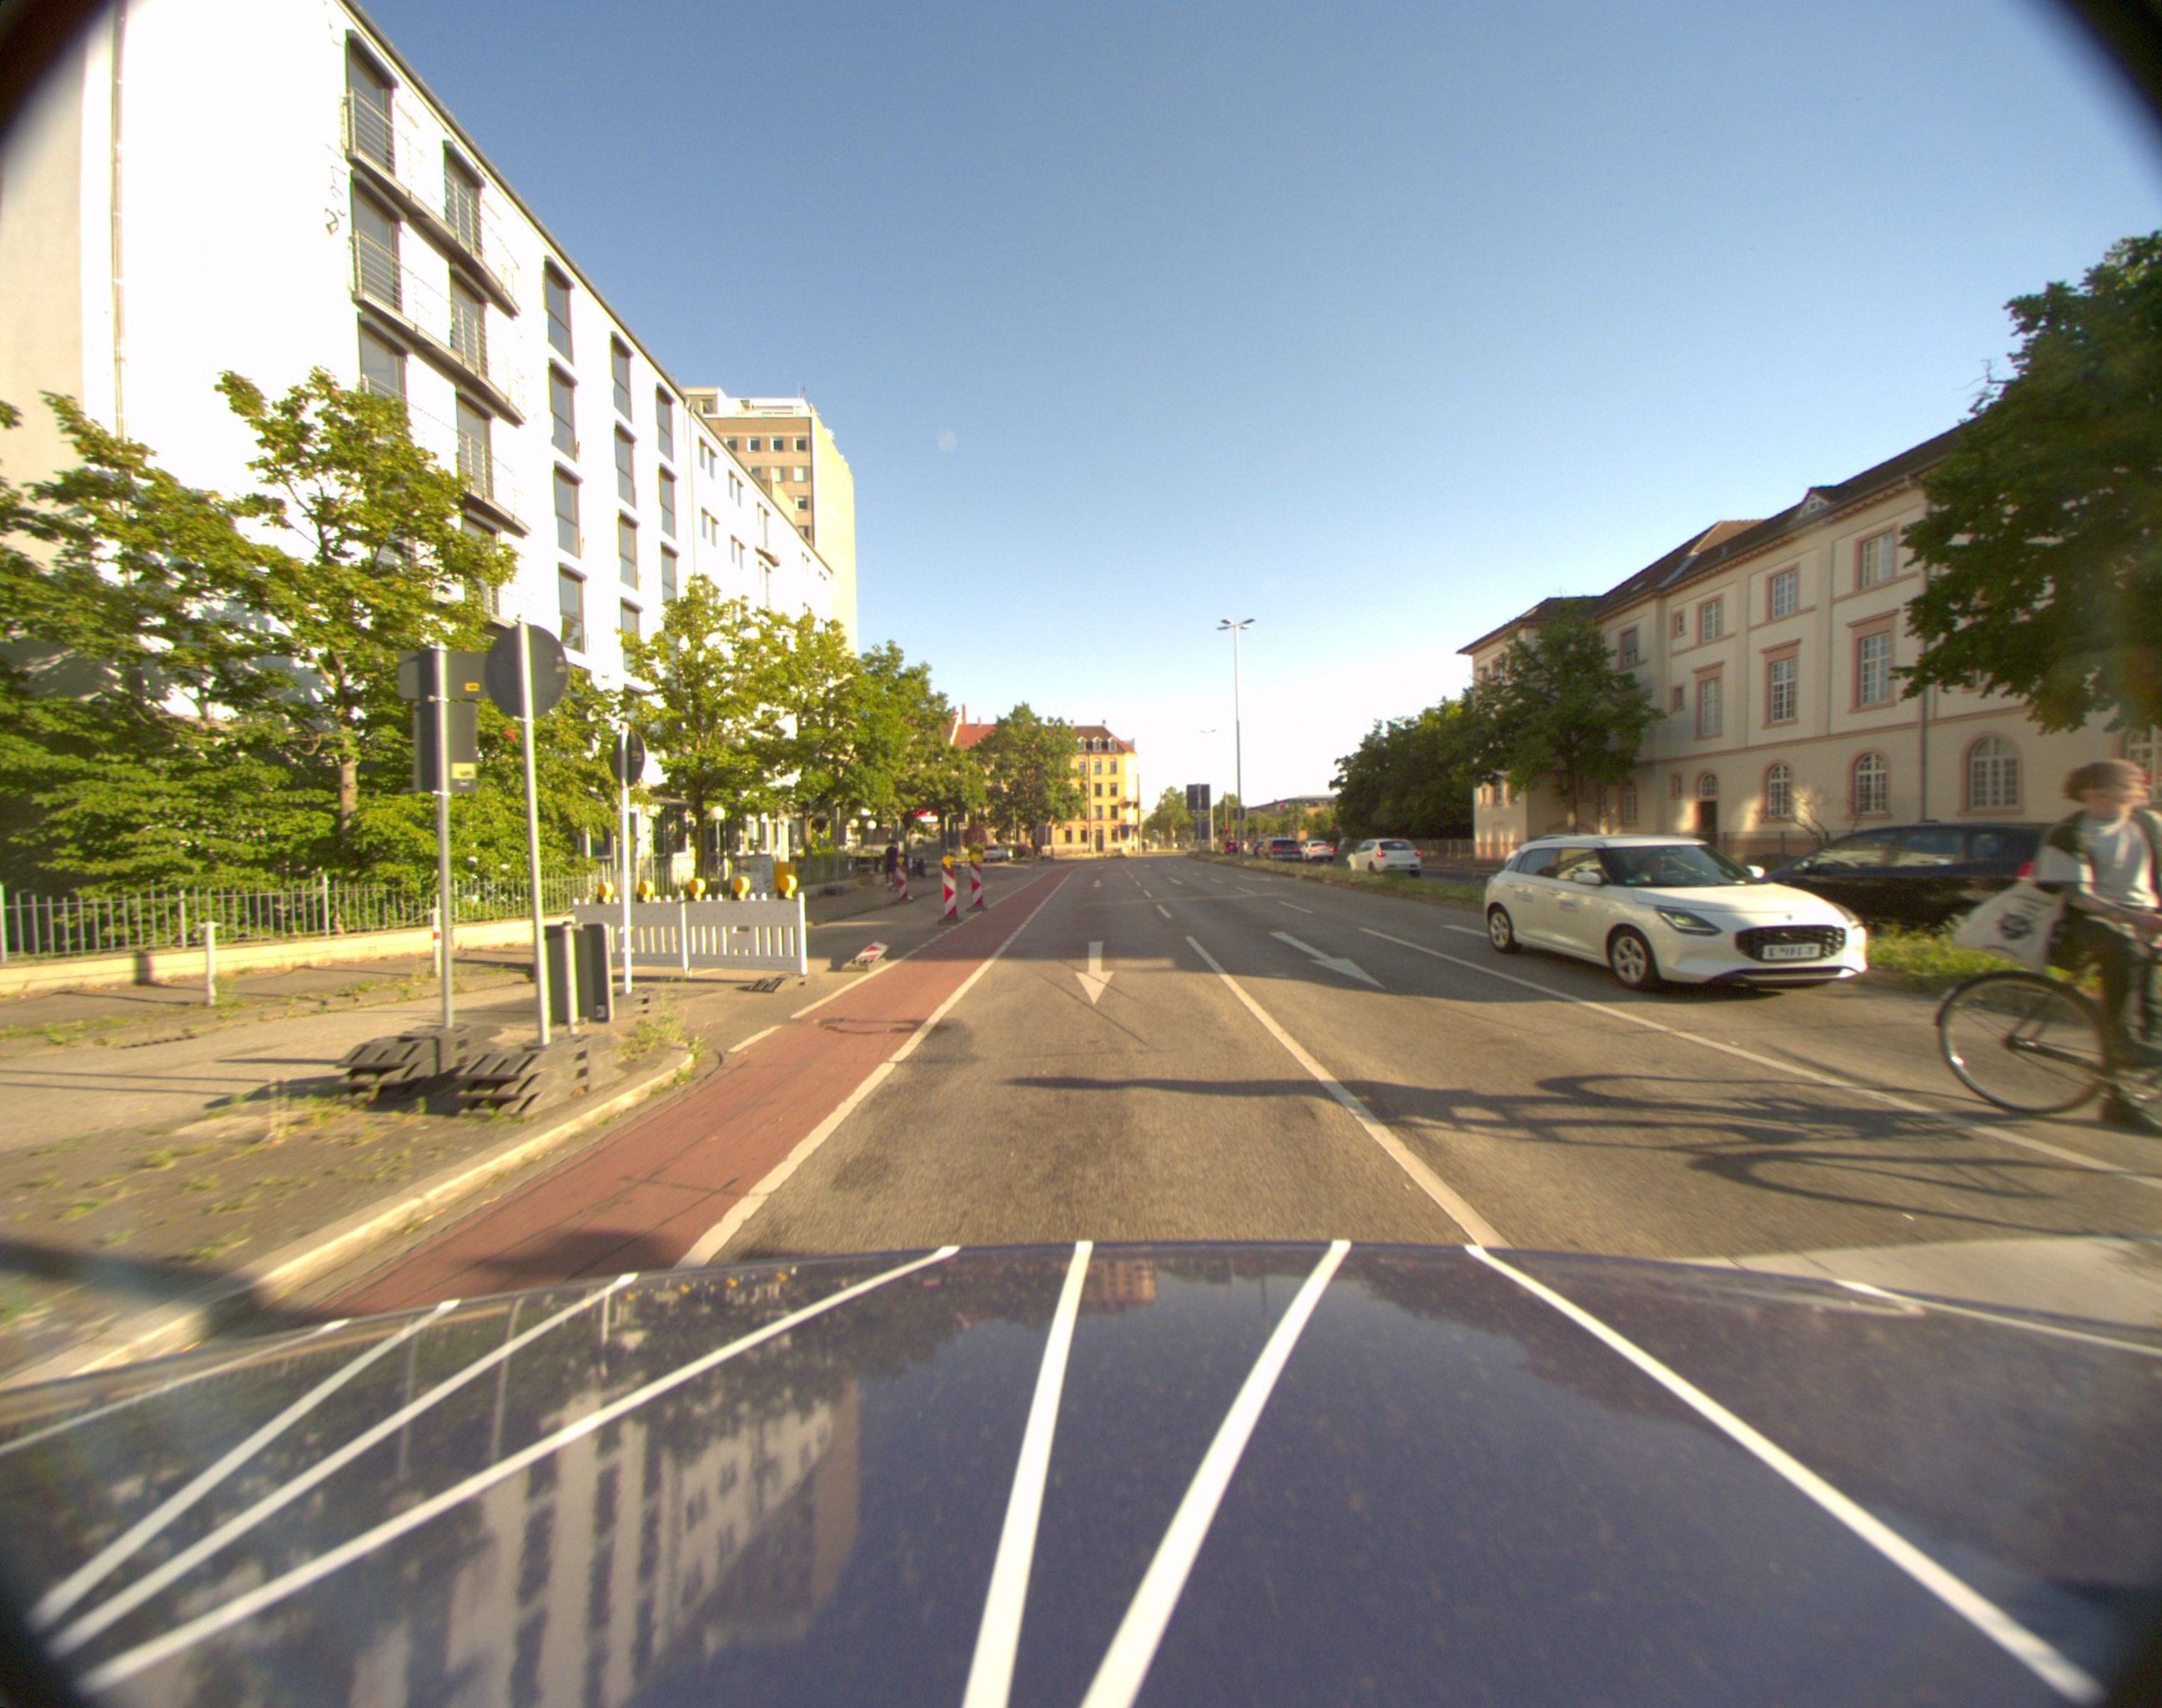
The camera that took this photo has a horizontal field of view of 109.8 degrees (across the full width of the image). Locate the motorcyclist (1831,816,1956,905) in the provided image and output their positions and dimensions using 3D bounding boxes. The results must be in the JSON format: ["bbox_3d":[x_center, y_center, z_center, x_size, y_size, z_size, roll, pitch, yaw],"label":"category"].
[{"bbox_3d":[13.679,0.101,12.838,0.772,1.411,1.238,-1,1,-1],"label":"motorcyclist"}]

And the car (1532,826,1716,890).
[{"bbox_3d":[14.295,0.078,20.387,1.689,1.490,4.513,-1,1,0],"label":"car"}]

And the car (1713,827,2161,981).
[{"bbox_3d":[10.378,0.466,9.473,1.662,1.486,3.999,-1,1,0],"label":"car"}]

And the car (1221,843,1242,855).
[{"bbox_3d":[17.095,-0.558,86.198,1.721,1.289,4.382,-1,1,18],"label":"car"}]

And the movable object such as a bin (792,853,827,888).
[{"bbox_3d":[-11.969,0.720,33.549,1.129,1.476,0.956,-1,1,1],"label":"movable object such as a bin"}]

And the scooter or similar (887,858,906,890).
[{"bbox_3d":[-7.064,0.760,29.075,0.331,1.188,1.250,-1,1,2],"label":"scooter or similar"}]

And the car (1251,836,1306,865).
[{"bbox_3d":[11.630,-0.241,45.010,1.998,1.569,4.898,-1,1,0],"label":"car"}]

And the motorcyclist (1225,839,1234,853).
[{"bbox_3d":[15.983,-0.866,81.892,0.852,1.390,1.063,-1,1,18],"label":"motorcyclist"}]

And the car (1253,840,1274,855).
[{"bbox_3d":[19.335,-0.725,80.496,1.997,1.487,5.296,-1,1,12],"label":"car"}]

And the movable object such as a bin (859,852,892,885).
[{"bbox_3d":[-9.648,0.683,35.791,1.330,1.476,1.209,-1,1,-8],"label":"movable object such as a bin"}]

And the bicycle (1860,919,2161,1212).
[{"bbox_3d":[4.870,0.948,3.258,0.701,1.094,2.257,-1,1,-2],"label":"bicycle"}]

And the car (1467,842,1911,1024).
[{"bbox_3d":[6.005,0.633,8.240,1.689,1.448,4.000,-2,1,2],"label":"car"}]

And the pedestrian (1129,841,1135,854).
[{"bbox_3d":[6.792,-0.853,101.017,0.488,1.622,0.526,0,2,36],"label":"pedestrian"}]

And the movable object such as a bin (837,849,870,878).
[{"bbox_3d":[-11.313,0.457,37.859,1.198,1.413,1.279,0,0,4],"label":"movable object such as a bin"}]

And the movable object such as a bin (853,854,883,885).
[{"bbox_3d":[-9.493,0.685,33.845,1.218,1.336,1.054,-2,1,-14],"label":"movable object such as a bin"}]

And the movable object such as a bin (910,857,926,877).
[{"bbox_3d":[-8.623,0.686,40.198,0.620,1.040,0.616,-1,1,4],"label":"movable object such as a bin"}]

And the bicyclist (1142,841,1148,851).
[{"bbox_3d":[11.994,-1.449,142.549,1.071,1.831,1.303,-1,1,5],"label":"bicyclist"}]

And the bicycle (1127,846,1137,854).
[{"bbox_3d":[6.801,-0.542,100.932,0.398,1.023,1.675,0,1,37],"label":"bicycle"}]

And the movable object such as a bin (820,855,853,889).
[{"bbox_3d":[-10.789,0.787,33.591,1.106,1.476,0.956,-1,1,0],"label":"movable object such as a bin"}]

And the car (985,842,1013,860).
[{"bbox_3d":[-7.353,-0.301,68.469,1.622,1.585,3.895,-1,1,8],"label":"car"}]

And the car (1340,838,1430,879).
[{"bbox_3d":[11.115,0.132,28.067,1.689,1.384,4.180,-1,1,1],"label":"car"}]

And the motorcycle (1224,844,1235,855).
[{"bbox_3d":[16.010,-0.489,81.970,0.859,1.101,2.473,-1,1,18],"label":"motorcycle"}]

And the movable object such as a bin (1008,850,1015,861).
[{"bbox_3d":[-6.652,0.120,72.891,0.573,1.023,0.674,-1,1,5],"label":"movable object such as a bin"}]

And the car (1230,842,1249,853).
[{"bbox_3d":[19.243,-0.769,92.160,1.720,1.289,4.254,-1,1,19],"label":"car"}]

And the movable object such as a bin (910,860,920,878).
[{"bbox_3d":[-8.647,0.798,39.591,0.394,0.902,0.490,-1,1,-1],"label":"movable object such as a bin"}]

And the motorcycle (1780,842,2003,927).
[{"bbox_3d":[13.716,0.442,13.051,0.772,1.277,2.842,-1,1,-1],"label":"motorcycle"}]

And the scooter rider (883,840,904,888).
[{"bbox_3d":[-7.134,0.374,28.969,0.616,1.779,0.487,-1,1,3],"label":"scooter rider"}]

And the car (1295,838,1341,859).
[{"bbox_3d":[16.551,-0.384,53.267,1.998,1.405,4.443,0,1,2],"label":"car"}]

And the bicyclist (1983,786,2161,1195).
[{"bbox_3d":[4.867,0.567,3.305,0.692,1.718,0.987,-1,1,-2],"label":"bicyclist"}]

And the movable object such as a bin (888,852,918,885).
[{"bbox_3d":[-8.716,0.684,37.351,1.095,1.500,1.253,-1,4,1],"label":"movable object such as a bin"}]

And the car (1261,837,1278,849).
[{"bbox_3d":[21.821,-1.291,87.962,1.721,1.312,3.898,-1,1,16],"label":"car"}]
